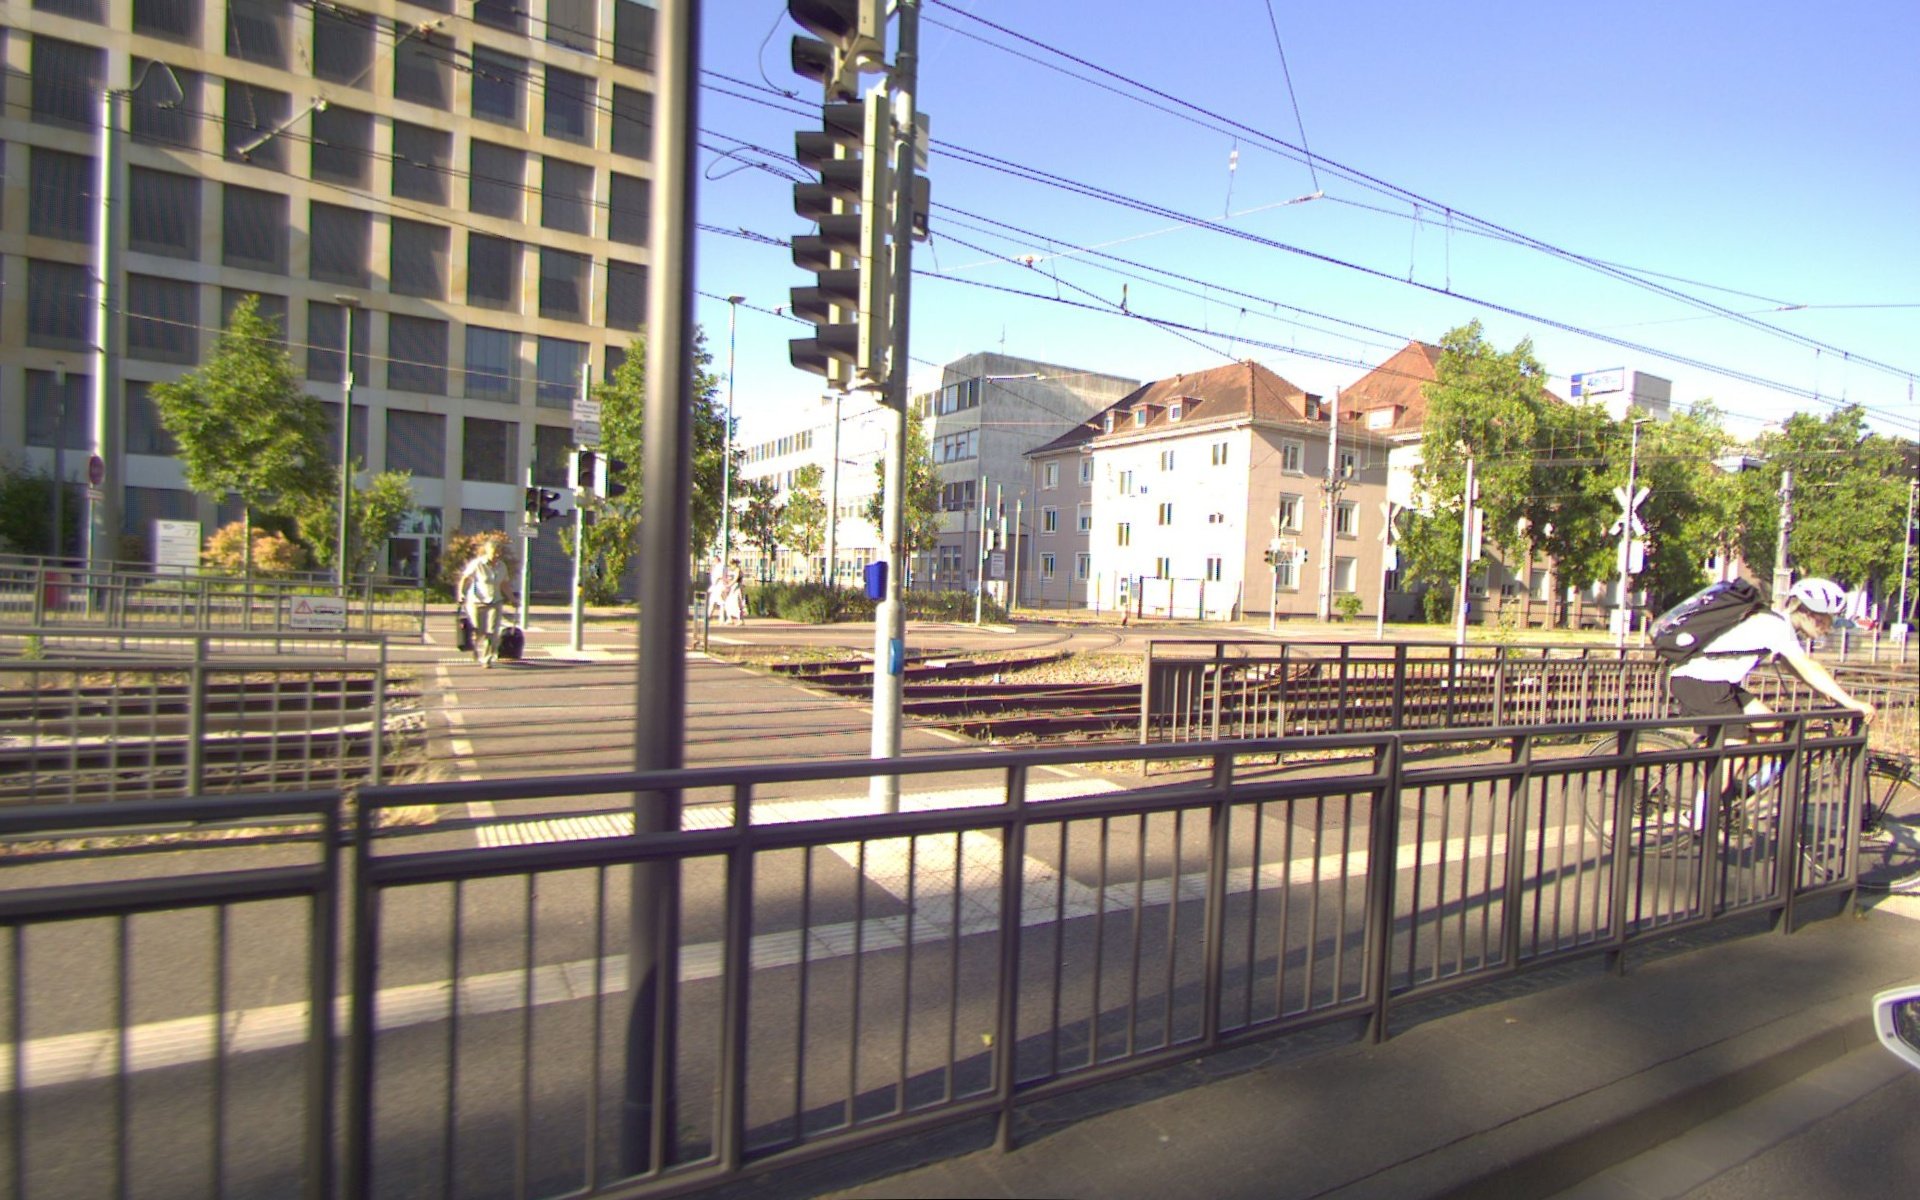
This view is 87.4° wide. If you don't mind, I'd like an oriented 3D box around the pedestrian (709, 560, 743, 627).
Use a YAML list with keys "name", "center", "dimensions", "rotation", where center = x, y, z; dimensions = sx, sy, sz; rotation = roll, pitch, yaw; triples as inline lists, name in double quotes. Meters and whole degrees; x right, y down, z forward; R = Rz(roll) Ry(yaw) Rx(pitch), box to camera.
- name: "pedestrian"
  center: [-6.279, -0.175, 26.918]
  dimensions: [0.664, 1.740, 0.660]
  rotation: [1, 2, -32]

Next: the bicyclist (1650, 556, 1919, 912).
- name: "bicyclist"
  center: [4.465, 0.658, 5.458]
  dimensions: [0.891, 1.740, 0.771]
  rotation: [3, 1, 16]

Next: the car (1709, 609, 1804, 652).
- name: "car"
  center: [33.072, 1.273, 41.675]
  dimensions: [3.954, 1.568, 1.731]
  rotation: [2, 2, -31]

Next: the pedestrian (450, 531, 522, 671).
- name: "pedestrian"
  center: [-6.110, 0.009, 12.985]
  dimensions: [0.713, 1.740, 0.668]
  rotation: [2, 1, -18]

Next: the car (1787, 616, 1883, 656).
- name: "car"
  center: [38.577, 1.605, 44.276]
  dimensions: [3.954, 1.550, 1.983]
  rotation: [2, 2, -30]

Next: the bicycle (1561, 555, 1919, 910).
- name: "bicycle"
  center: [4.492, 0.672, 5.462]
  dimensions: [1.933, 1.740, 0.591]
  rotation: [3, 1, 16]

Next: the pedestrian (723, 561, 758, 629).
- name: "pedestrian"
  center: [-5.763, -0.140, 26.416]
  dimensions: [0.664, 1.740, 0.660]
  rotation: [1, 2, -32]
